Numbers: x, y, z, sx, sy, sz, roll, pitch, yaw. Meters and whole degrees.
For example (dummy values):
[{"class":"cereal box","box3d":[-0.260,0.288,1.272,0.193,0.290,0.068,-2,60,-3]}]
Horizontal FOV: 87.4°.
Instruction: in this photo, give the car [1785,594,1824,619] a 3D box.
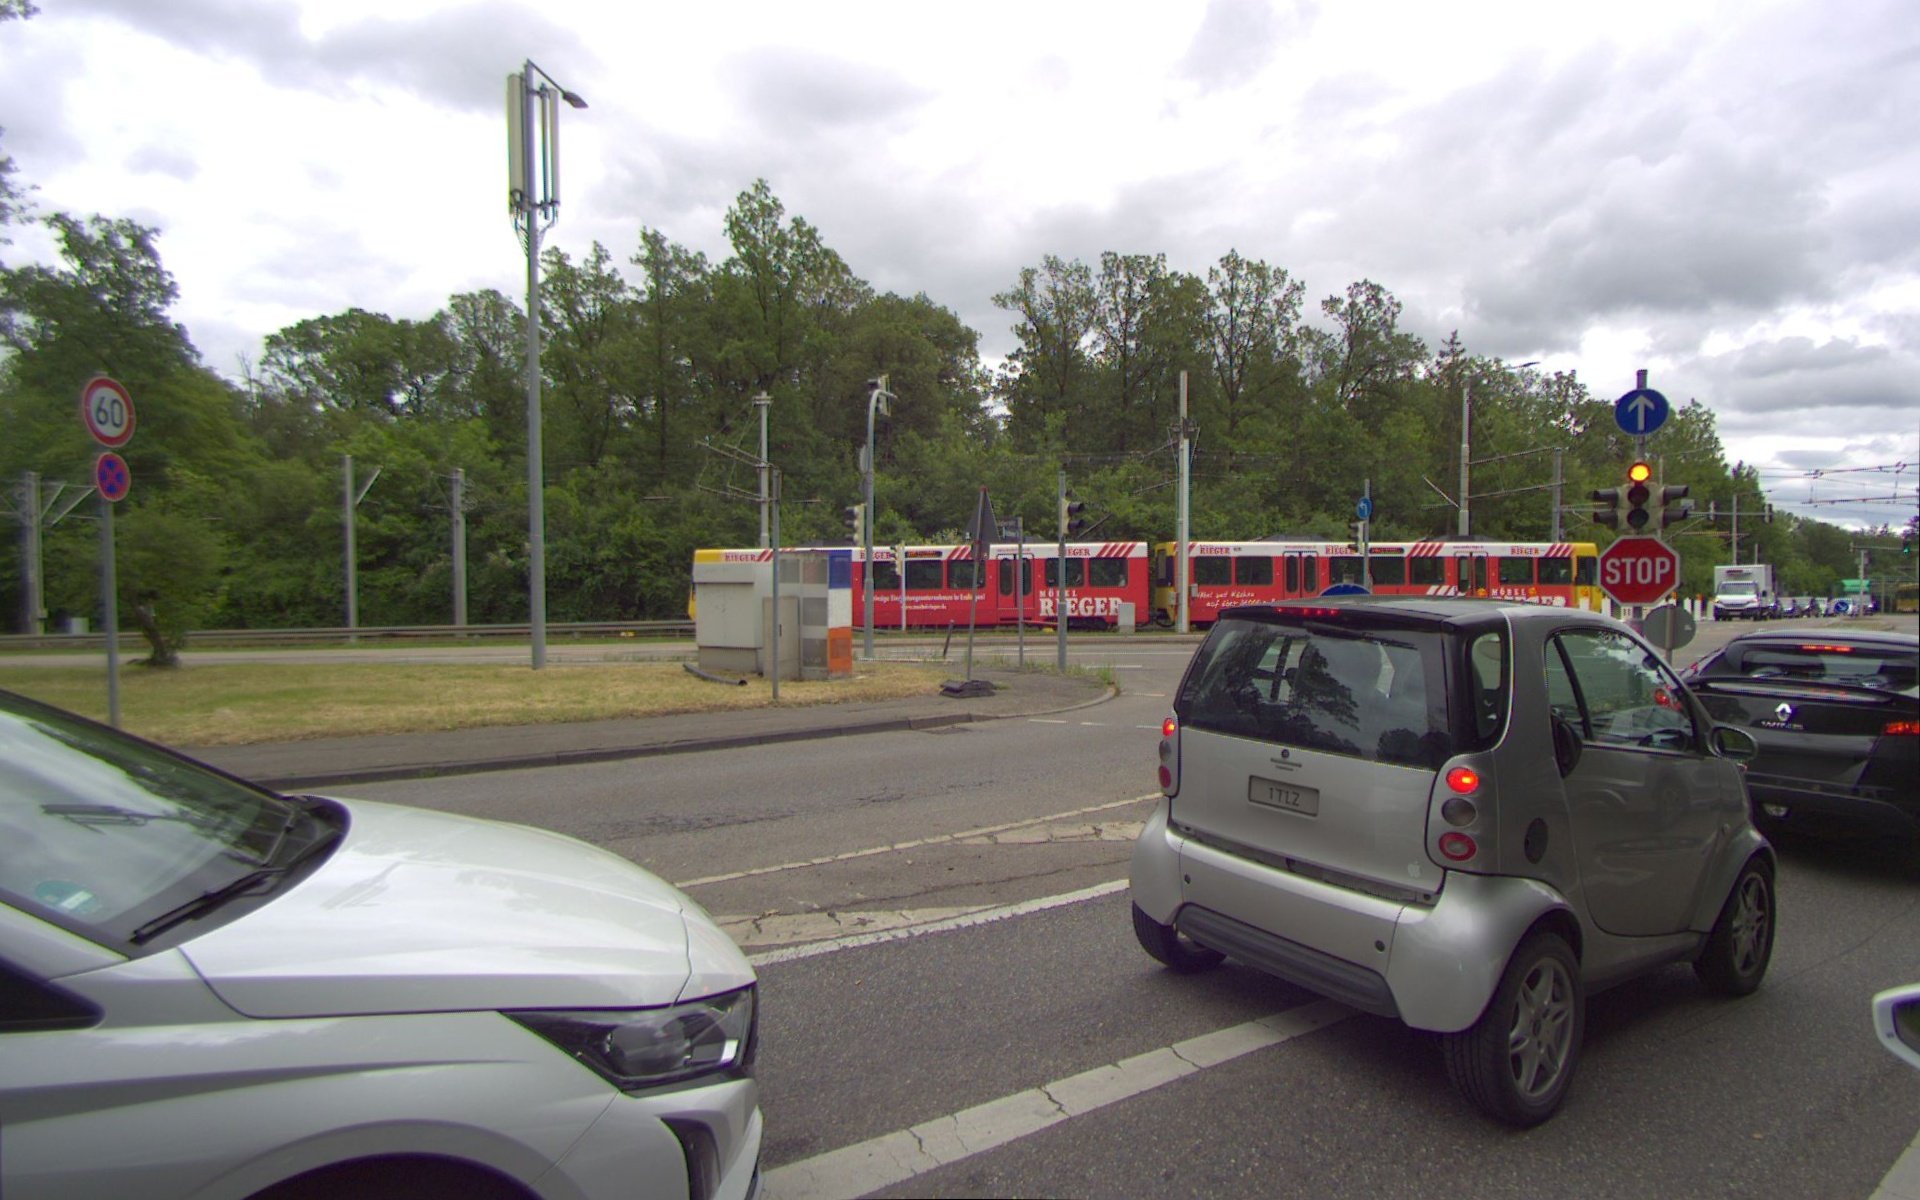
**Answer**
[{"class":"car","box3d":[65.637,0.456,78.029,1.942,1.869,4.660,1,1,45]}]

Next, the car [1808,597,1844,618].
[{"class":"car","box3d":[70.560,0.613,81.818,1.942,1.628,4.283,1,1,45]}]

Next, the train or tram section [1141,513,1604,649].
[{"class":"train or tram section","box3d":[16.653,-0.668,40.776,18.199,4.712,2.953,2,0,-7]}]

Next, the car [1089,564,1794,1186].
[{"class":"car","box3d":[1.989,0.718,3.990,2.701,1.607,1.447,0,0,-36]}]

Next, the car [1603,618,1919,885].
[{"class":"car","box3d":[6.035,0.839,6.964,3.448,1.380,1.759,0,0,-41]}]

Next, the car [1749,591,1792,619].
[{"class":"car","box3d":[53.709,0.328,66.560,1.940,1.773,4.819,1,1,42]}]

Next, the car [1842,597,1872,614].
[{"class":"car","box3d":[84.694,0.524,94.805,1.942,1.561,4.283,1,1,45]}]

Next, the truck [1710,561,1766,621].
[{"class":"truck","box3d":[45.039,-0.465,58.120,2.419,3.267,7.124,0,0,39]}]

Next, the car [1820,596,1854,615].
[{"class":"car","box3d":[74.899,0.440,85.730,1.942,1.562,4.368,1,1,45]}]

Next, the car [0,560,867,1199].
[{"class":"car","box3d":[-2.316,0.701,1.607,4.022,1.499,1.643,0,0,-28]}]

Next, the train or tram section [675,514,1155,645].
[{"class":"train or tram section","box3d":[-1.745,-0.814,39.965,18.354,4.477,2.966,2,0,3]}]

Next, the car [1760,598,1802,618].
[{"class":"car","box3d":[59.450,0.579,72.674,1.942,1.380,4.660,1,1,45]}]
